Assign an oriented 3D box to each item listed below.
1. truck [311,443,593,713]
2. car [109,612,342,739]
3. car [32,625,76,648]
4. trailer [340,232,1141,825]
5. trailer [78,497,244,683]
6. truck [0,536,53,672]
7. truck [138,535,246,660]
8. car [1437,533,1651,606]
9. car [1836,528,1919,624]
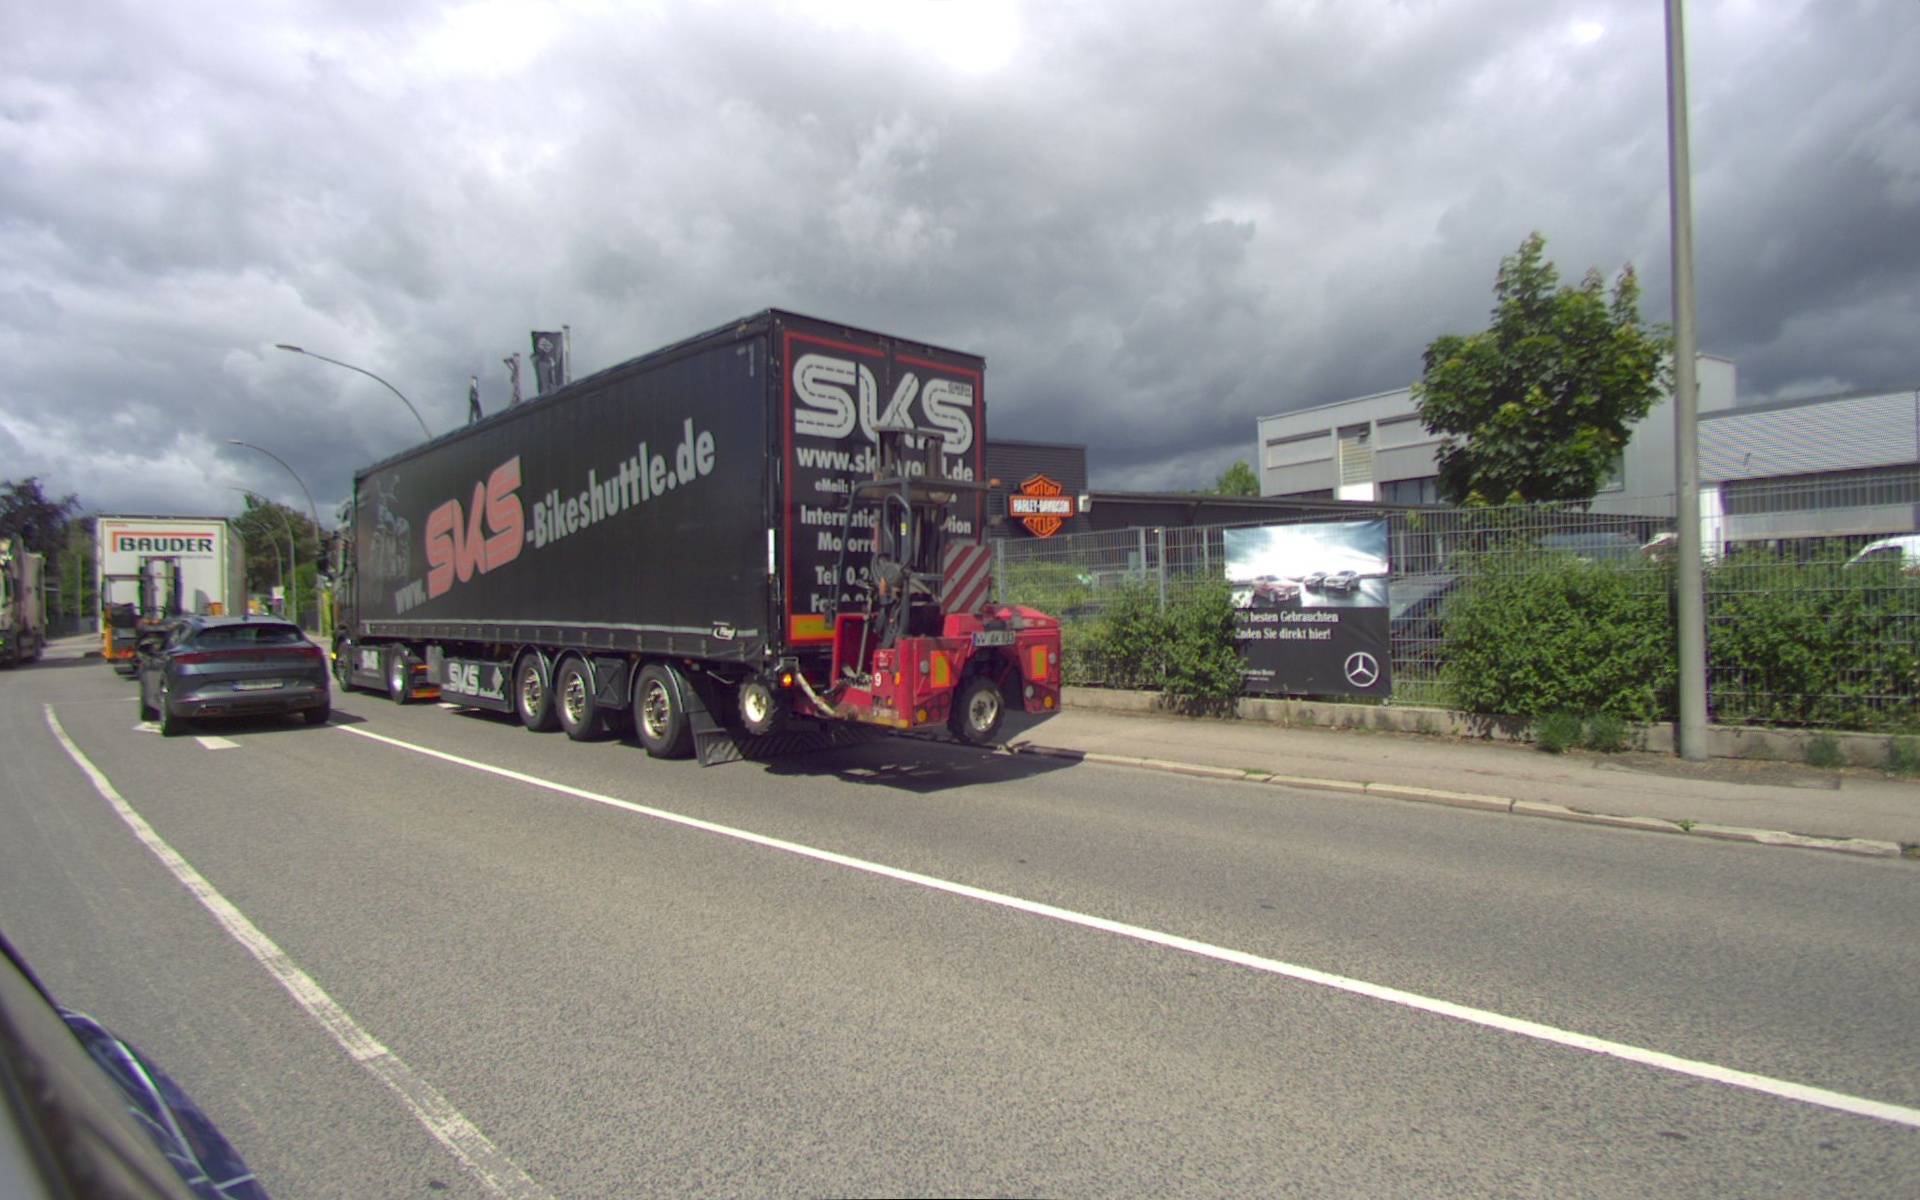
[{"bbox_3d":[-9.546,-0.337,18.619,2.766,4.083,6.507,-2,1,-43],"label":"truck"},{"bbox_3d":[-10.198,0.919,13.930,4.253,1.474,1.819,-1,-1,43],"label":"car"},{"bbox_3d":[-71.150,2.840,79.540,1.833,1.541,5.216,-2,1,-34],"label":"car"},{"bbox_3d":[-4.805,-0.429,13.596,2.766,4.083,15.570,-2,1,-43],"label":"trailer"},{"bbox_3d":[-22.957,-0.218,29.827,2.734,4.176,15.390,-2,1,-35],"label":"trailer"},{"bbox_3d":[-31.014,0.190,31.837,2.623,3.840,9.838,-2,1,-36],"label":"truck"},{"bbox_3d":[-27.372,-0.111,36.269,2.734,4.150,4.999,-2,1,-35],"label":"truck"},{"bbox_3d":[14.100,-0.710,24.639,1.699,1.617,4.160,-2,1,-37],"label":"car"},{"bbox_3d":[20.536,-0.507,19.884,1.755,1.914,4.743,-2,1,-35],"label":"car"}]
